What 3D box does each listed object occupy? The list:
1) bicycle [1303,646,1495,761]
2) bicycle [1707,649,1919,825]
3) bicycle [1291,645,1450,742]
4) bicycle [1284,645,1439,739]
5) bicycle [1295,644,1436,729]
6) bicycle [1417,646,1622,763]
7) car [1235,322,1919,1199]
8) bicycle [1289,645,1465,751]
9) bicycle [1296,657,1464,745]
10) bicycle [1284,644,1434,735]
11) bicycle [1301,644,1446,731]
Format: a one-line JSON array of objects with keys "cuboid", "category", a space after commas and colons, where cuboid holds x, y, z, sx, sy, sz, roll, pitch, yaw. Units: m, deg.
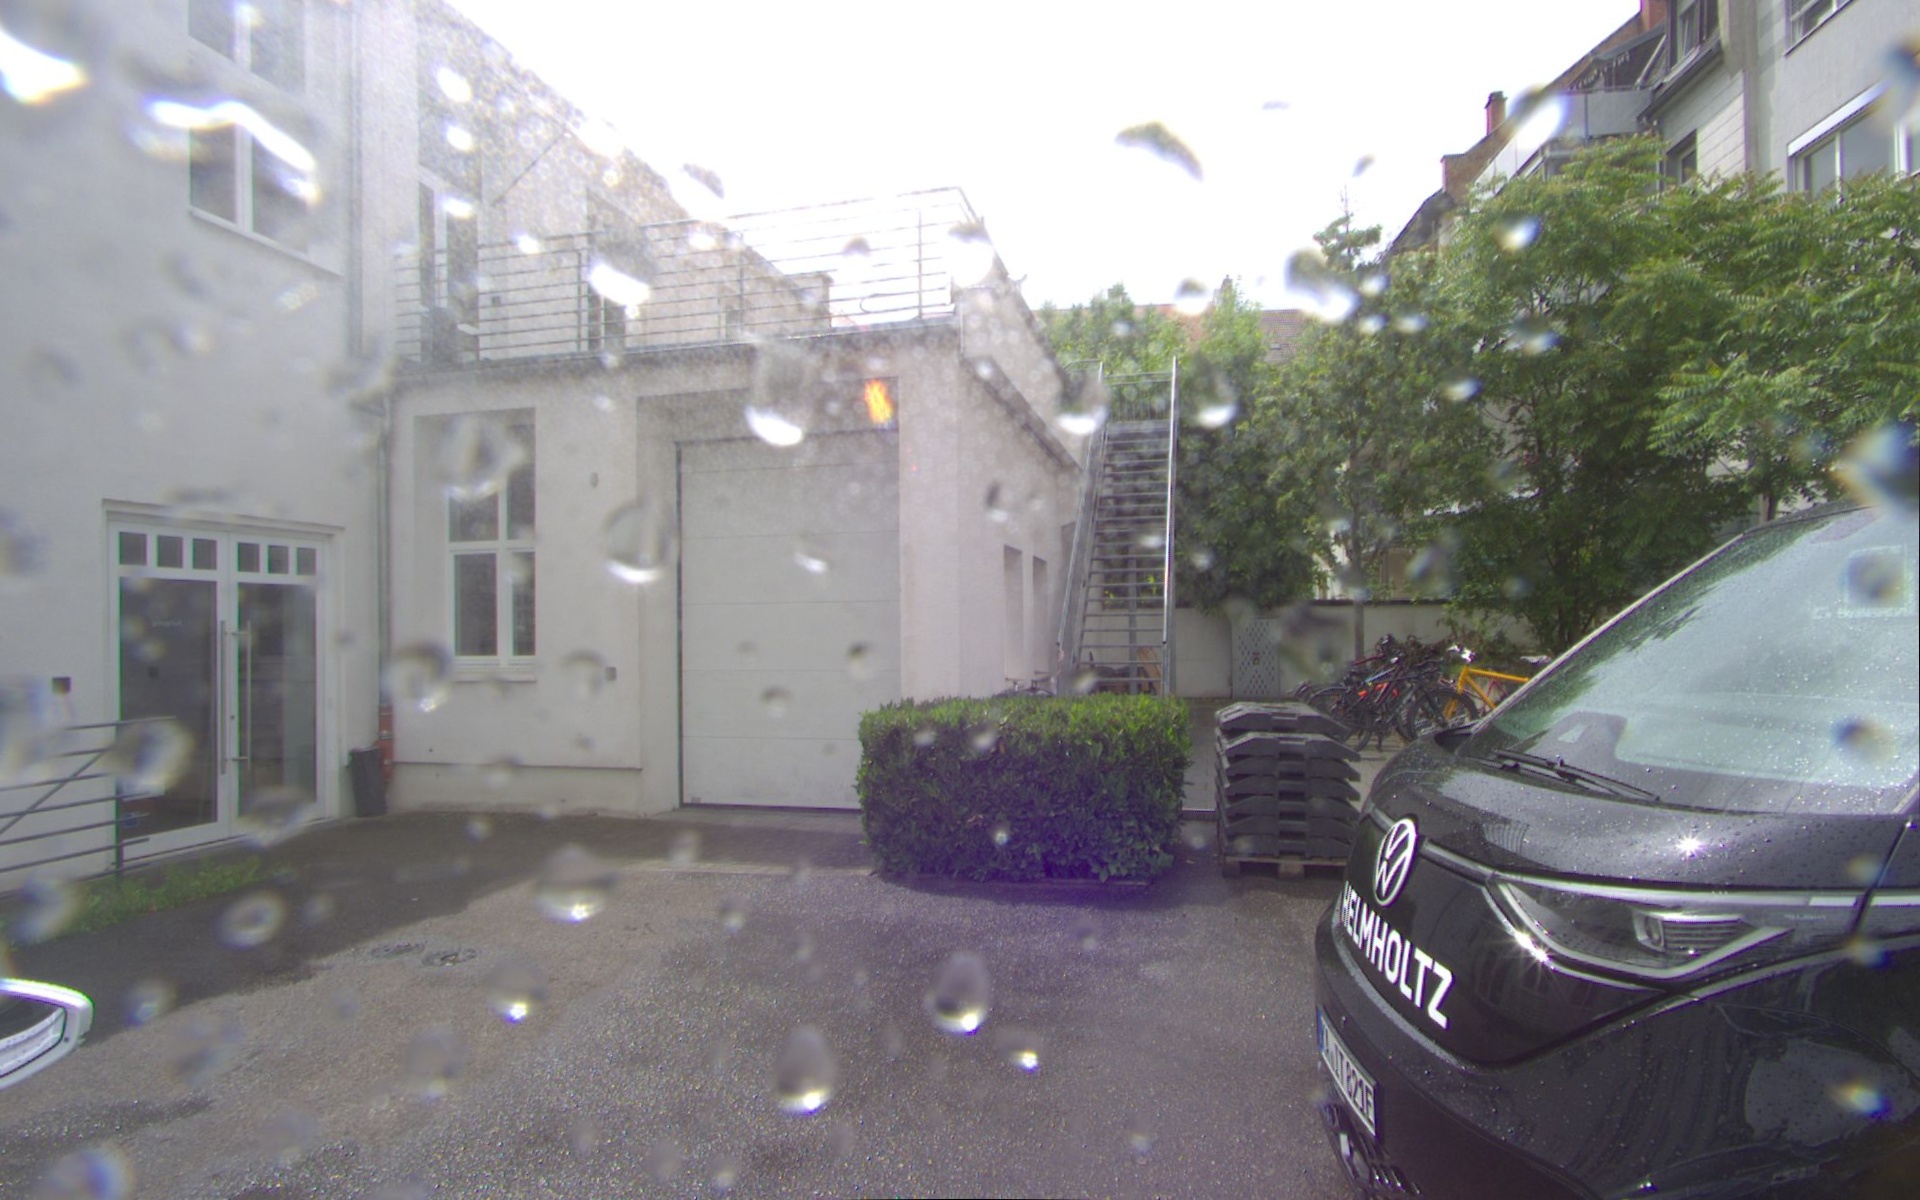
[{"cuboid": [4.477, 1.041, 10.305, 1.764, 1.118, 0.405, 0, 0, 16], "category": "bicycle"}, {"cuboid": [6.451, 0.971, 7.632, 0.438, 1.118, 1.796, -3, -1, 11], "category": "bicycle"}, {"cuboid": [4.855, 1.098, 11.894, 1.722, 1.118, 0.333, 0, 0, 8], "category": "bicycle"}, {"cuboid": [4.887, 1.111, 12.244, 1.722, 1.118, 0.342, 0, 0, 8], "category": "bicycle"}, {"cuboid": [5.467, 1.155, 13.550, 1.722, 1.118, 0.342, 0, 0, 8], "category": "bicycle"}, {"cuboid": [5.610, 1.036, 10.123, 1.764, 1.118, 0.366, 0, 0, 16], "category": "bicycle"}, {"cuboid": [3.113, 0.581, 1.995, 4.656, 1.888, 1.971, -2, -2, 7], "category": "car"}, {"cuboid": [4.589, 1.070, 11.107, 1.764, 1.118, 0.354, 0, 0, 16], "category": "bicycle"}, {"cuboid": [4.822, 1.154, 11.551, 1.762, 0.980, 0.330, 0, 0, 8], "category": "bicycle"}, {"cuboid": [5.043, 1.126, 12.711, 1.722, 1.118, 0.345, 0, 0, 8], "category": "bicycle"}, {"cuboid": [5.424, 1.142, 13.177, 1.722, 1.118, 0.355, 0, 0, 8], "category": "bicycle"}]
